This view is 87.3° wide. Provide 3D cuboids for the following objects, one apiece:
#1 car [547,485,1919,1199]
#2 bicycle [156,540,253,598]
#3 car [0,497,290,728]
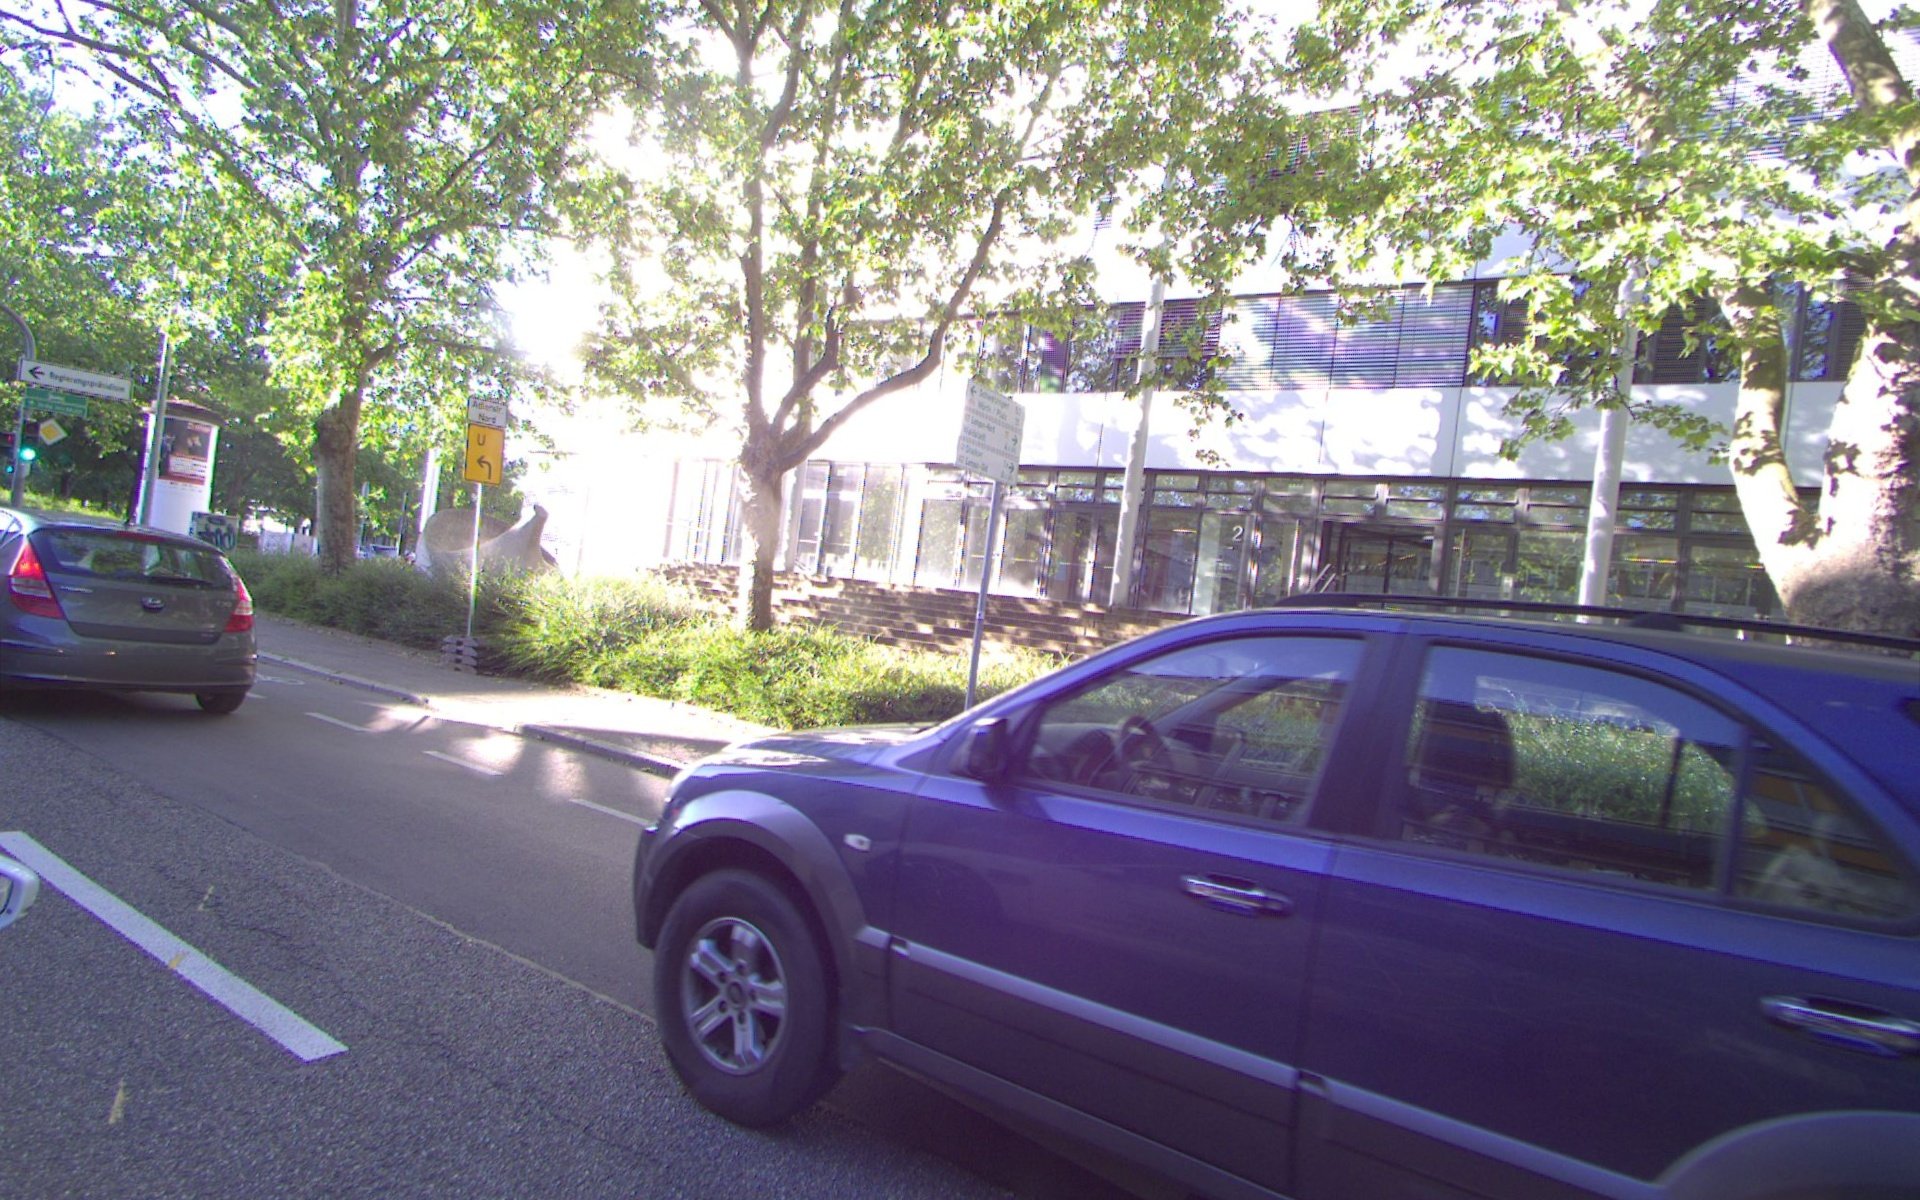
[{"bbox_3d":[1.146,0.830,2.803,4.407,1.784,1.865,7,-1,32],"label":"car"},{"bbox_3d":[-15.916,-0.636,21.249,0.631,1.040,1.887,7,-2,-5],"label":"bicycle"},{"bbox_3d":[-7.607,-0.024,8.436,3.934,1.537,1.708,7,-1,32],"label":"car"}]
